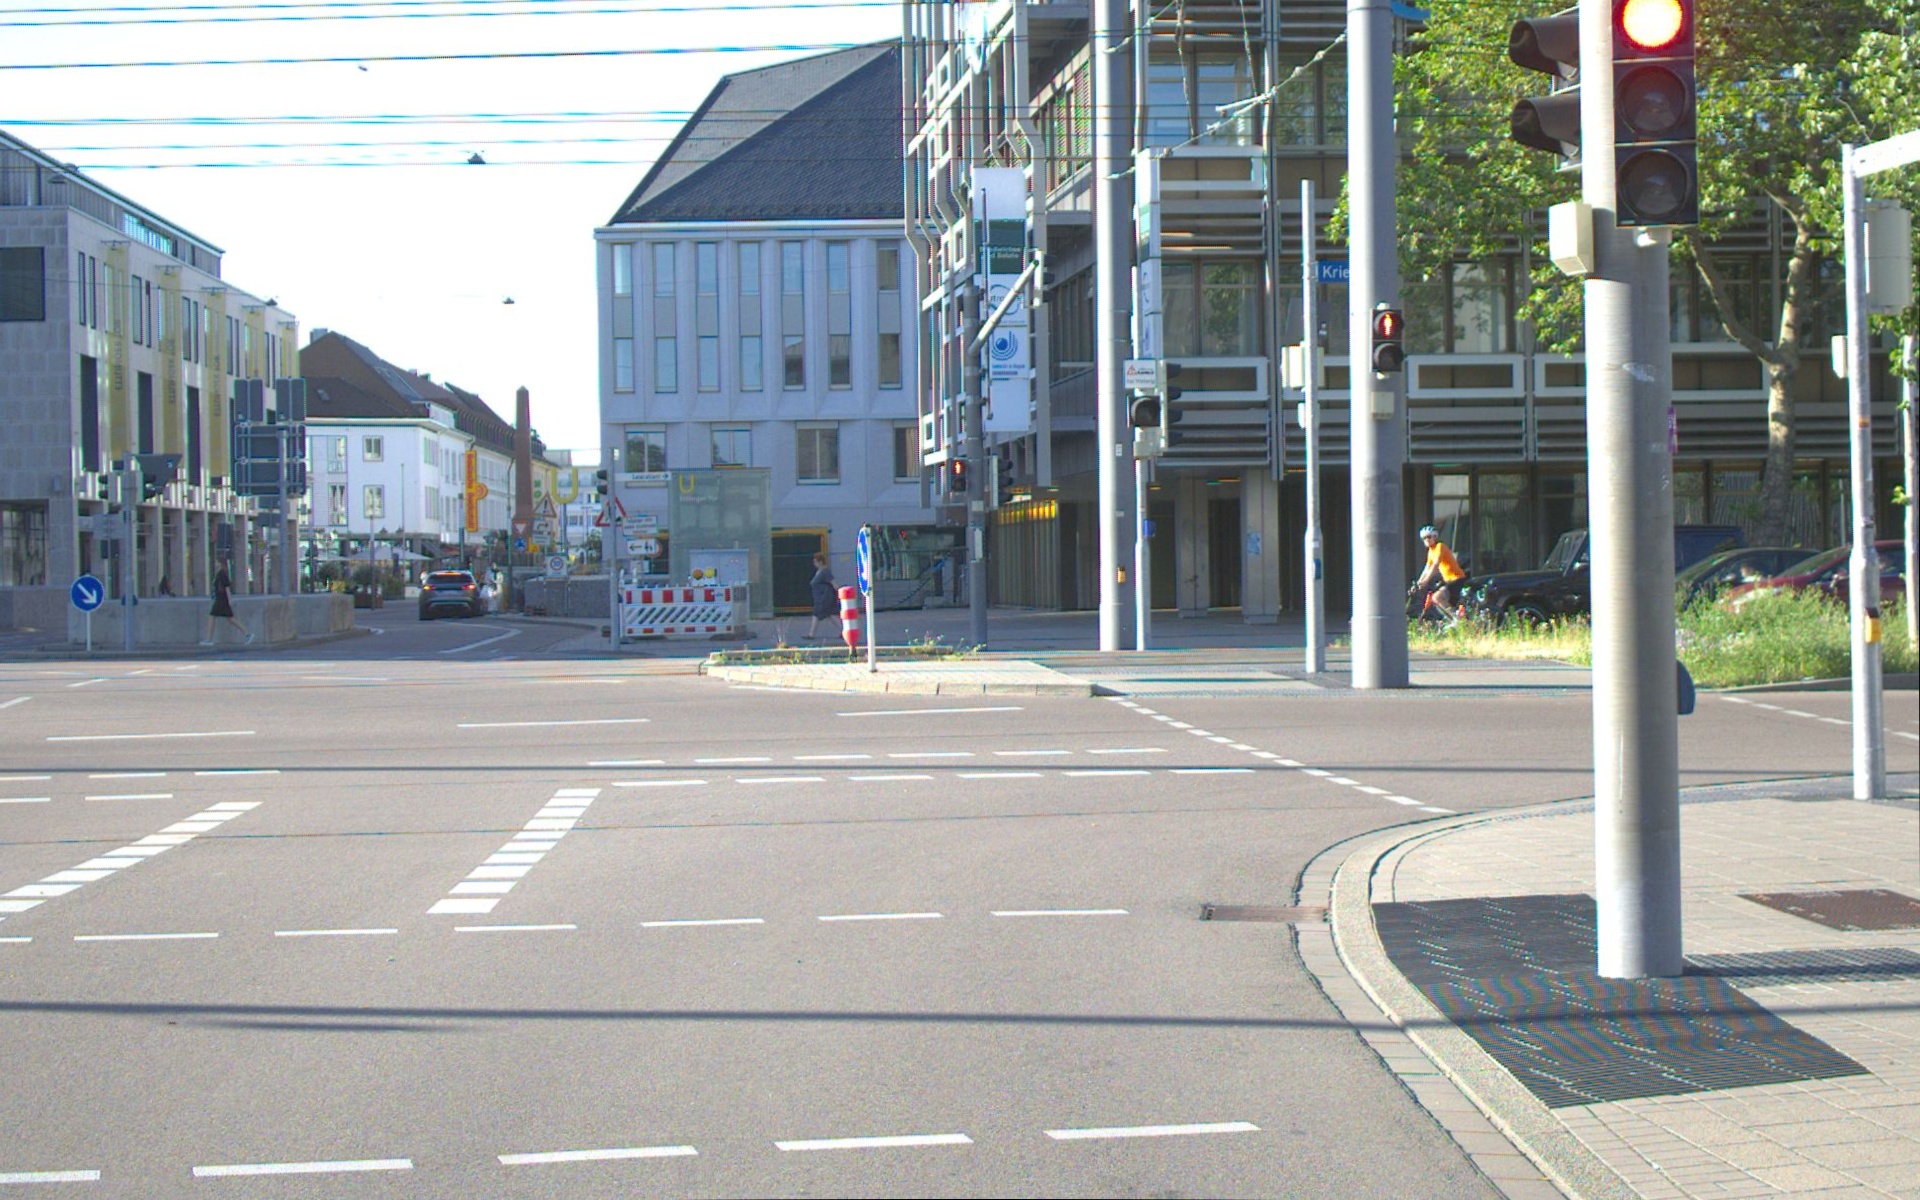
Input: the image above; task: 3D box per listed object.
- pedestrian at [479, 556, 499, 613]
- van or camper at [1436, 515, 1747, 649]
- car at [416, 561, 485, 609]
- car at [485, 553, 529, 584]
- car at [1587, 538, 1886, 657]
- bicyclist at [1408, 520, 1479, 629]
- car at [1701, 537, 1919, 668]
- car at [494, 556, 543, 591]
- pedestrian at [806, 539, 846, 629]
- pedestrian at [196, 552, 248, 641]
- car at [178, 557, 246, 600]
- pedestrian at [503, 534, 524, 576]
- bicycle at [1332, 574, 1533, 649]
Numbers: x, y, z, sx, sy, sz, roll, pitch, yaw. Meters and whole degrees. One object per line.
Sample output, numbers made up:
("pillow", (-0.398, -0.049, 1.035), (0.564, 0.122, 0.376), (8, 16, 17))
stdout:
("pedestrian", (-13.732, -0.458, 100.240), (0.489, 1.658, 0.532), (1, 0, -14))
("van or camper", (9.880, -0.295, 53.963), (4.414, 2.007, 1.995), (-1, 1, -5))
("car", (-16.011, -0.481, 108.088), (1.658, 1.453, 3.542), (-1, 1, -1))
("car", (-21.885, -1.513, 166.185), (1.658, 1.453, 3.542), (-1, 1, -1))
("car", (11.479, -0.056, 50.982), (3.986, 1.678, 1.761), (-1, 1, -1))
("bicyclist", (6.624, -0.355, 47.135), (0.822, 1.469, 0.652), (-1, 1, -4))
("car", (12.396, 0.003, 46.425), (4.287, 1.678, 1.826), (-1, 1, -11))
("car", (-18.706, -1.128, 145.852), (1.658, 1.453, 3.542), (-1, 1, -1))
("pedestrian", (-2.512, -0.299, 64.647), (0.700, 1.682, 0.619), (-1, 1, 0))
("pedestrian", (-13.775, -0.074, 64.163), (0.777, 1.632, 0.626), (-1, 1, 4))
("car", (-26.571, -0.765, 122.243), (1.658, 1.453, 3.542), (-1, 1, -1))
("pedestrian", (-21.385, -2.158, 164.695), (0.910, 1.958, 0.823), (1, 0, -1))
("bicycle", (6.467, 0.154, 47.125), (2.568, 0.972, 1.047), (-1, 1, -3))
